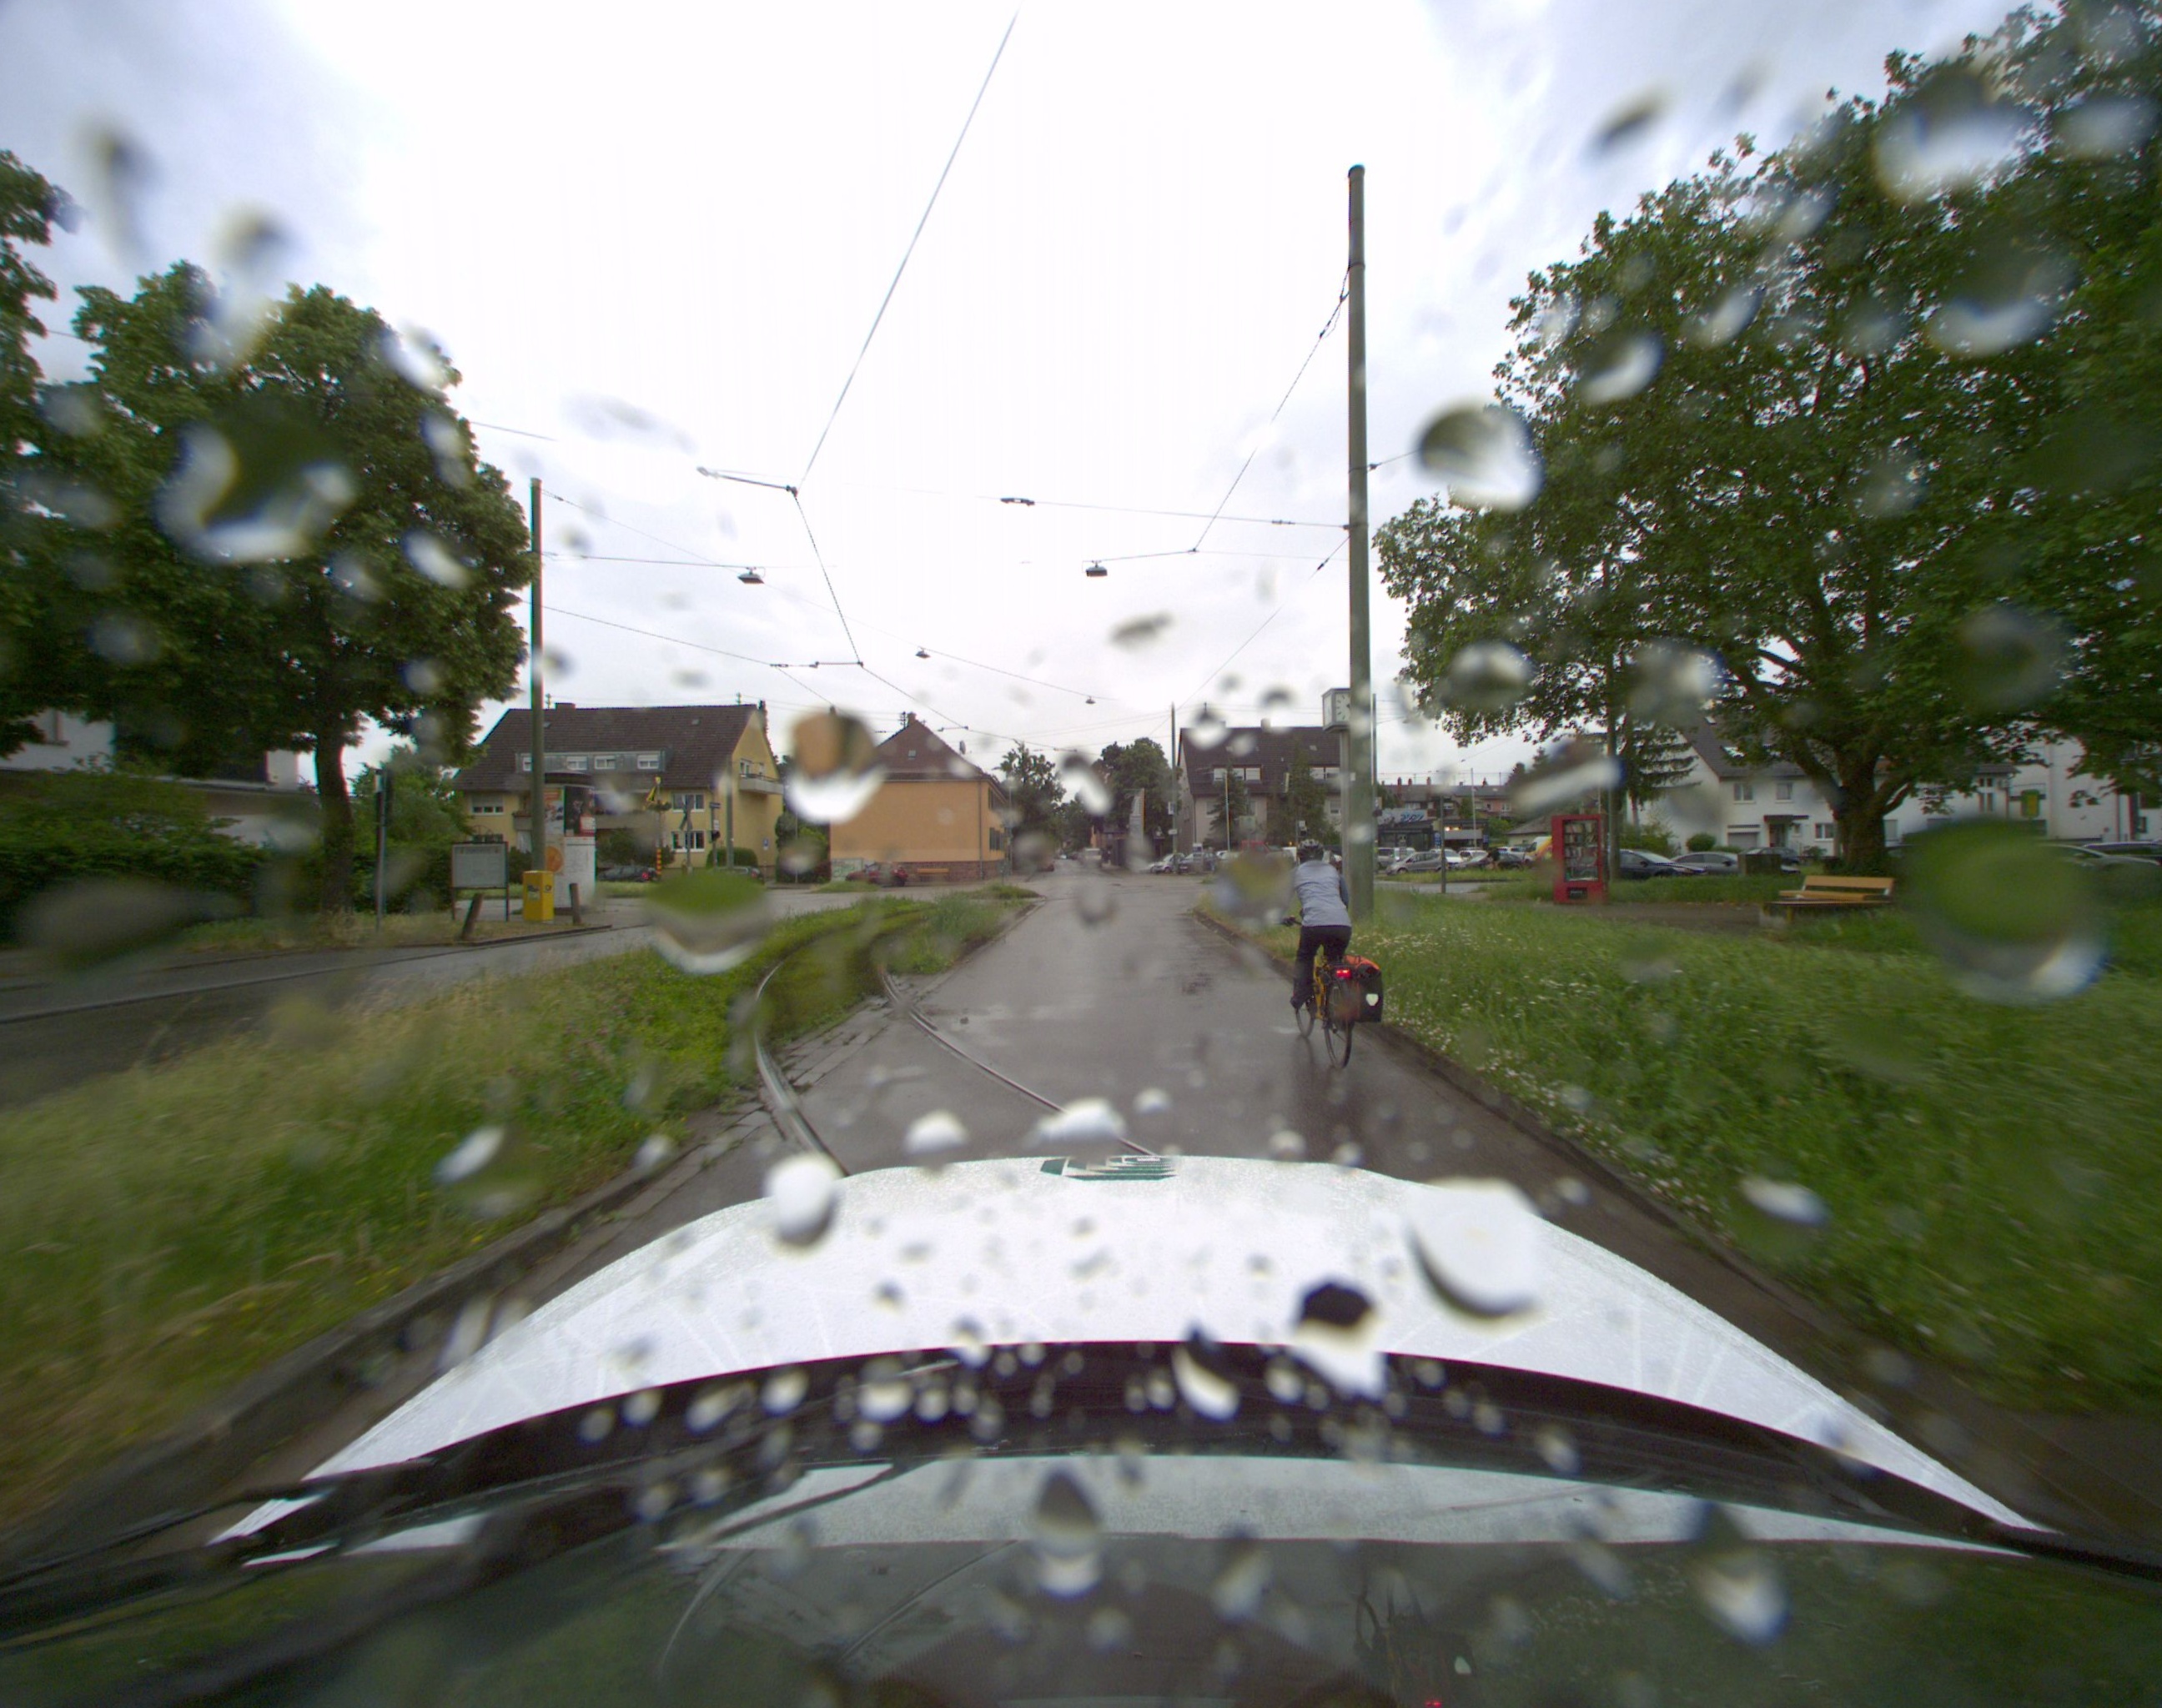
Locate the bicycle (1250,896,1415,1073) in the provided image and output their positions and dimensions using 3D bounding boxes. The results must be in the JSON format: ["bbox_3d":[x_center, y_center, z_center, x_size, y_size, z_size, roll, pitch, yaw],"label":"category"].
[{"bbox_3d":[1.899,0.934,6.465,0.750,1.073,1.928,-2,0,2],"label":"bicycle"}]

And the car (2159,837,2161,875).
[{"bbox_3d":[43.251,0.013,30.254,1.641,1.480,3.568,-1,-2,-26],"label":"car"}]

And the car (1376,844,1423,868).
[{"bbox_3d":[22.151,0.116,56.798,1.795,1.578,3.873,-2,0,2],"label":"car"}]

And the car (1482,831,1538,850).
[{"bbox_3d":[36.936,-1.177,70.160,4.450,1.580,1.781,-1,-1,-22],"label":"car"}]

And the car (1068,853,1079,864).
[{"bbox_3d":[-1.375,0.812,150.667,1.824,2.013,3.996,1,0,-2],"label":"car"}]

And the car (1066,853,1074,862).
[{"bbox_3d":[-2.625,0.877,196.412,1.824,2.013,3.996,1,0,-2],"label":"car"}]

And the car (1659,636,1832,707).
[{"bbox_3d":[23.806,-6.478,29.388,1.808,1.476,4.511,-1,0,-26],"label":"car"}]

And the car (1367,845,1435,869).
[{"bbox_3d":[23.903,0.220,60.982,4.415,1.687,1.761,-1,-1,2],"label":"car"}]

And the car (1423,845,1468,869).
[{"bbox_3d":[25.528,0.225,57.195,1.710,1.573,3.621,1,0,4],"label":"car"}]

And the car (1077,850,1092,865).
[{"bbox_3d":[0.529,0.463,111.518,1.987,2.013,3.999,1,0,0],"label":"car"}]

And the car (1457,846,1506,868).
[{"bbox_3d":[27.955,0.212,56.938,1.710,1.396,3.846,1,0,3],"label":"car"}]

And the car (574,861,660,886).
[{"bbox_3d":[-27.276,1.131,47.984,3.978,1.332,1.758,1,0,-3],"label":"car"}]

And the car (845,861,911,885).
[{"bbox_3d":[-12.220,1.122,49.211,3.596,1.339,1.721,1,0,-3],"label":"car"}]

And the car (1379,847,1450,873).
[{"bbox_3d":[20.342,0.360,49.790,3.621,1.504,1.722,1,0,-1],"label":"car"}]

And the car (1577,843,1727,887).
[{"bbox_3d":[20.933,0.405,30.042,1.810,1.476,4.137,-1,0,-30],"label":"car"}]

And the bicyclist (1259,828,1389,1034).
[{"bbox_3d":[1.875,0.564,6.405,0.748,1.485,0.847,-2,0,2],"label":"bicyclist"}]

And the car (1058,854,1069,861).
[{"bbox_3d":[-4.539,0.875,214.686,1.832,1.697,4.009,1,0,-16],"label":"car"}]

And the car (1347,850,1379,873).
[{"bbox_3d":[19.474,0.503,56.327,1.814,1.504,4.075,1,0,15],"label":"car"}]

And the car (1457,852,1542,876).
[{"bbox_3d":[25.540,0.601,49.763,4.362,1.339,1.722,2,0,-2],"label":"car"}]

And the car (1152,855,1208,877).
[{"bbox_3d":[7.524,0.890,62.078,3.872,1.578,1.795,-2,0,-20],"label":"car"}]

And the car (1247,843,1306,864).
[{"bbox_3d":[16.347,-0.040,68.239,4.415,1.687,2.001,-1,-1,2],"label":"car"}]

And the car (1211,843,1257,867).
[{"bbox_3d":[10.773,0.066,57.078,1.784,1.578,3.896,-2,0,32],"label":"car"}]

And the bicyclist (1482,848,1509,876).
[{"bbox_3d":[24.524,0.452,48.164,1.036,1.598,0.949,-2,0,-2],"label":"bicyclist"}]

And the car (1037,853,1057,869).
[{"bbox_3d":[-3.409,0.703,81.688,1.988,1.618,3.997,-1,-1,-2],"label":"car"}]

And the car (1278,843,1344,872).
[{"bbox_3d":[17.237,0.288,61.184,4.415,2.014,2.001,-1,-1,2],"label":"car"}]

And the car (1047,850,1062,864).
[{"bbox_3d":[-3.755,0.412,115.791,1.987,2.013,3.999,1,0,0],"label":"car"}]

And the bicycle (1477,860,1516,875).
[{"bbox_3d":[24.564,0.808,48.173,1.809,0.786,0.942,-2,0,-2],"label":"bicycle"}]

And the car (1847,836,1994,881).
[{"bbox_3d":[30.730,0.212,29.882,1.762,1.506,3.478,1,-3,-35],"label":"car"}]

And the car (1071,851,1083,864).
[{"bbox_3d":[-0.652,0.575,132.040,1.824,2.013,3.996,1,0,-2],"label":"car"}]

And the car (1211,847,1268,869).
[{"bbox_3d":[12.133,0.319,62.185,3.933,1.598,2.010,-2,-1,20],"label":"car"}]

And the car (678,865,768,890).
[{"bbox_3d":[-21.251,1.377,48.497,4.479,1.396,1.965,-1,0,-2],"label":"car"}]

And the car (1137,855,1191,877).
[{"bbox_3d":[6.641,0.955,65.060,3.872,1.578,1.795,-2,0,-20],"label":"car"}]

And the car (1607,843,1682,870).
[{"bbox_3d":[39.399,0.171,57.006,3.870,1.565,1.999,-4,0,-1],"label":"car"}]

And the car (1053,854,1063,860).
[{"bbox_3d":[-6.294,0.853,220.102,1.832,1.697,4.009,1,0,-16],"label":"car"}]

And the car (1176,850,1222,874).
[{"bbox_3d":[8.497,0.532,58.383,1.784,1.578,3.896,-2,0,32],"label":"car"}]

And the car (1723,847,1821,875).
[{"bbox_3d":[39.761,0.412,46.943,3.976,1.476,1.999,-1,0,-2],"label":"car"}]

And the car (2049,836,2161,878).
[{"bbox_3d":[39.721,0.100,30.561,1.872,1.480,4.081,0,-2,-31],"label":"car"}]

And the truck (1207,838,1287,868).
[{"bbox_3d":[13.254,-0.047,65.065,6.032,2.272,2.010,-2,-1,19],"label":"truck"}]

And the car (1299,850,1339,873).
[{"bbox_3d":[16.521,0.511,56.456,1.810,1.504,4.083,1,0,28],"label":"car"}]

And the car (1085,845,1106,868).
[{"bbox_3d":[1.640,0.284,93.775,2.148,2.572,4.130,1,0,-2],"label":"car"}]

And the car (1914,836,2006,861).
[{"bbox_3d":[53.534,-0.340,49.623,3.918,1.423,1.606,1,0,0],"label":"car"}]

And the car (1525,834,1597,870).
[{"bbox_3d":[34.189,-0.154,58.226,2.138,2.406,5.148,1,0,0],"label":"car"}]

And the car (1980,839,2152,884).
[{"bbox_3d":[36.463,0.343,30.265,1.970,1.553,3.954,1,-3,-38],"label":"car"}]

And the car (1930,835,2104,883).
[{"bbox_3d":[33.976,0.238,29.665,1.832,1.501,3.955,1,-4,-36],"label":"car"}]

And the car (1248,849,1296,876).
[{"bbox_3d":[13.277,0.574,56.583,1.974,1.717,4.025,-2,-1,32],"label":"car"}]
